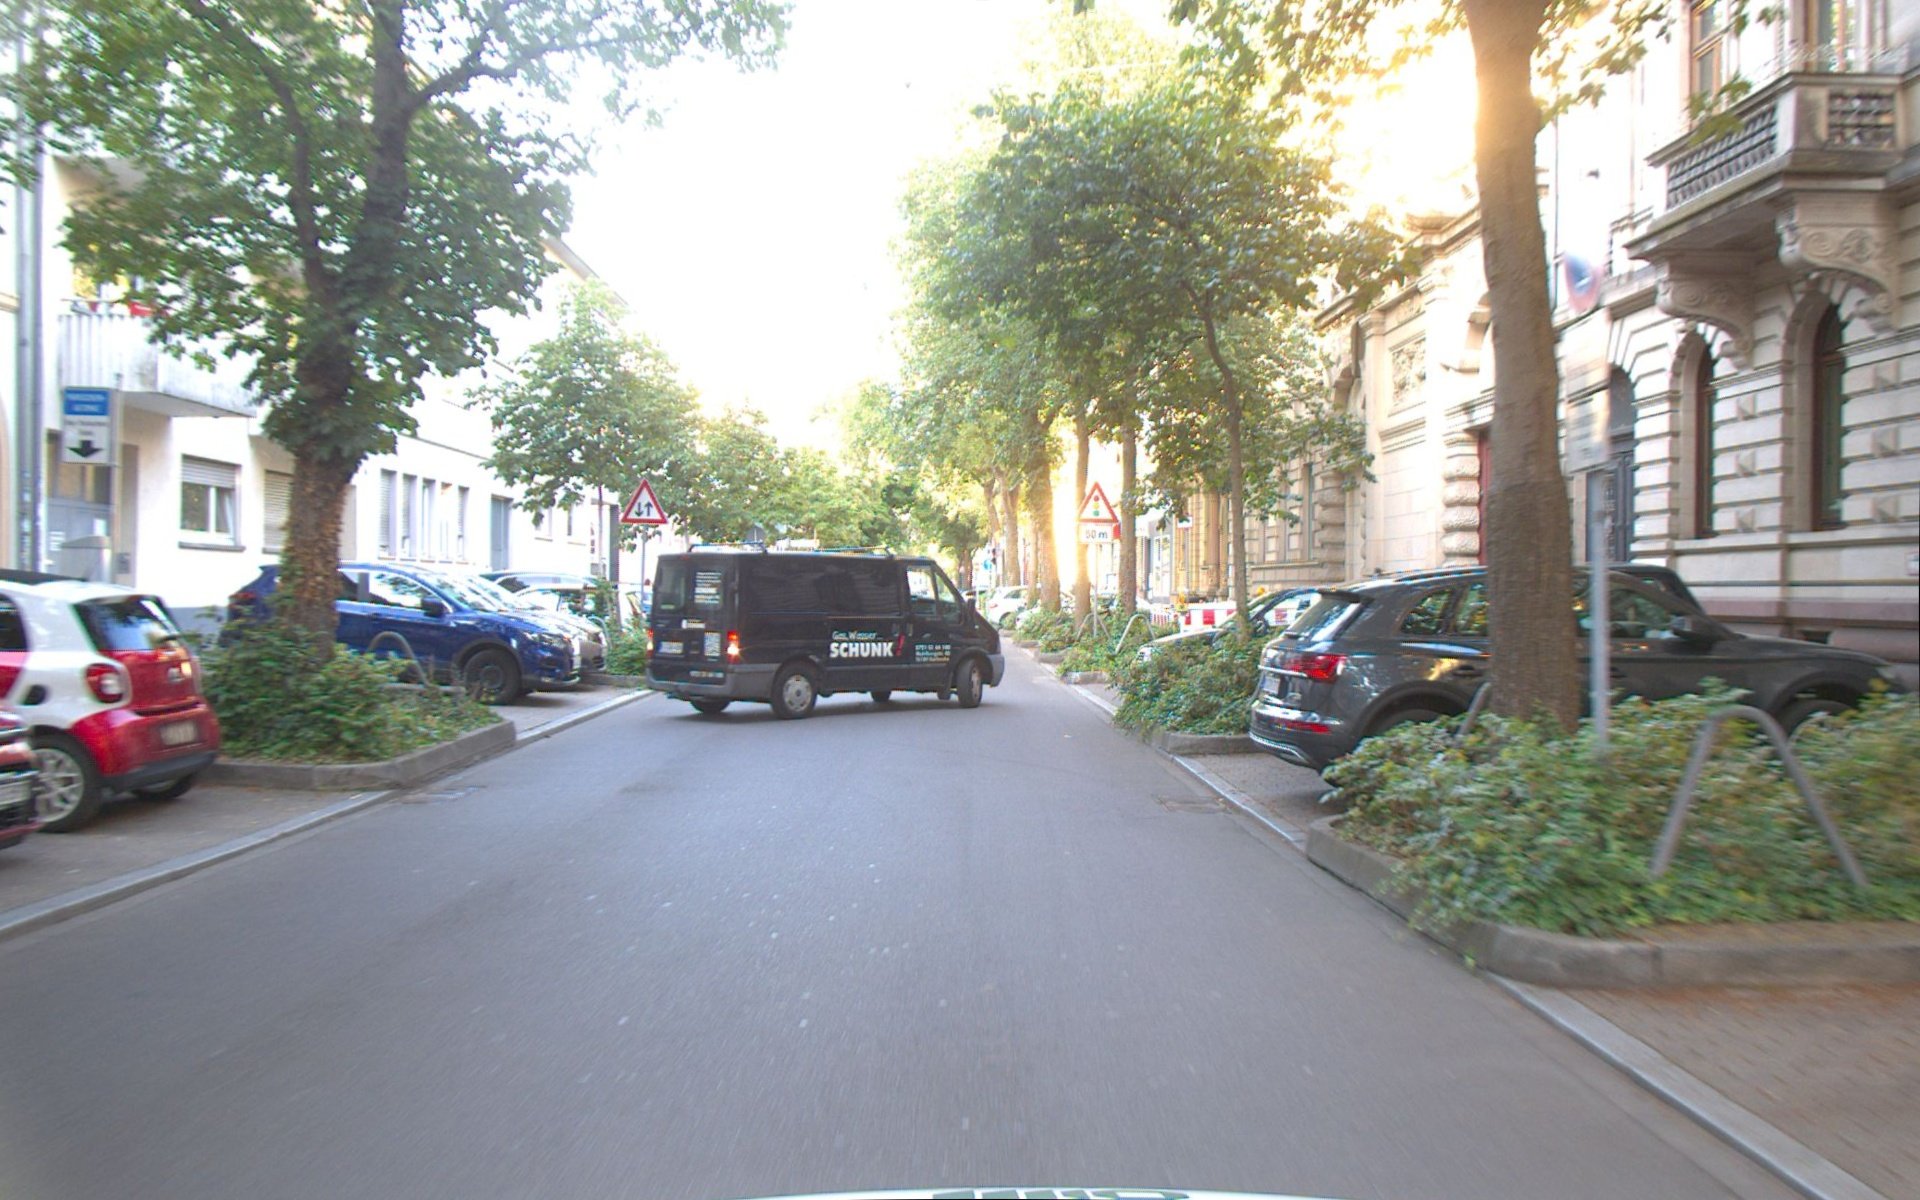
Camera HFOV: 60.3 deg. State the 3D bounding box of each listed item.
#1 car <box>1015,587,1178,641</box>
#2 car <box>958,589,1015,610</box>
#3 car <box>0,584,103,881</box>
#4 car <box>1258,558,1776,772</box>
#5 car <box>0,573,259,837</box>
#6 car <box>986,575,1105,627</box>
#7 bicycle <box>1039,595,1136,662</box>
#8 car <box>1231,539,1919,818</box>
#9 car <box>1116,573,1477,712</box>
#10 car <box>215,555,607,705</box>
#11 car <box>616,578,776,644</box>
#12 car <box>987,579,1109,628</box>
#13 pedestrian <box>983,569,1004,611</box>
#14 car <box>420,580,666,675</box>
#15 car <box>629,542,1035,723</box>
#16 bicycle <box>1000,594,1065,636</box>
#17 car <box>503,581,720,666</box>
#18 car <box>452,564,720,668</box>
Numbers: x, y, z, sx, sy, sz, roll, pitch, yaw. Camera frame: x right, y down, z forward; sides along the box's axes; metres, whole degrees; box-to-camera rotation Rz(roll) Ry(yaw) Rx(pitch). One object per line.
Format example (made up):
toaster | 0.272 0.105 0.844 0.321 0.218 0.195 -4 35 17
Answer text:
car | 3.818 0.379 46.997 4.489 1.462 1.925 0 1 0
car | 1.964 -0.042 123.430 4.108 1.506 1.852 -1 0 -2
car | -6.609 0.596 8.365 3.610 1.474 1.659 2 0 -2
car | 4.737 0.513 14.437 3.926 1.716 1.764 0 1 -2
car | -7.154 0.569 10.857 4.266 1.566 1.771 3 -1 -2
car | 3.331 0.033 64.876 4.450 1.948 1.949 -1 0 -4
bicycle | 2.733 0.609 35.609 2.005 1.384 0.508 2 0 -4
car | 4.316 0.517 11.949 4.350 1.748 1.967 -1 0 -2
car | 4.182 0.506 21.010 4.138 1.507 1.854 -3 0 -2
car | -6.853 0.358 21.017 4.266 1.600 1.930 3 0 -2
car | -7.110 0.284 44.825 4.009 1.660 1.936 1 0 0
car | 3.028 0.108 57.254 4.137 1.587 1.971 -1 1 2
pedestrian | 1.740 -0.514 86.811 1.022 2.184 1.063 1 -1 -1
car | -7.146 0.446 28.607 3.767 1.476 1.854 1 1 -2
car | -1.516 0.333 21.102 4.968 2.025 2.154 0 1 -44
bicycle | 2.308 0.470 52.476 1.985 1.225 0.487 -2 0 -14
car | -7.033 0.461 33.656 3.945 1.520 1.781 2 0 2
car | -6.970 0.289 31.248 4.571 1.796 2.156 1 0 -2
